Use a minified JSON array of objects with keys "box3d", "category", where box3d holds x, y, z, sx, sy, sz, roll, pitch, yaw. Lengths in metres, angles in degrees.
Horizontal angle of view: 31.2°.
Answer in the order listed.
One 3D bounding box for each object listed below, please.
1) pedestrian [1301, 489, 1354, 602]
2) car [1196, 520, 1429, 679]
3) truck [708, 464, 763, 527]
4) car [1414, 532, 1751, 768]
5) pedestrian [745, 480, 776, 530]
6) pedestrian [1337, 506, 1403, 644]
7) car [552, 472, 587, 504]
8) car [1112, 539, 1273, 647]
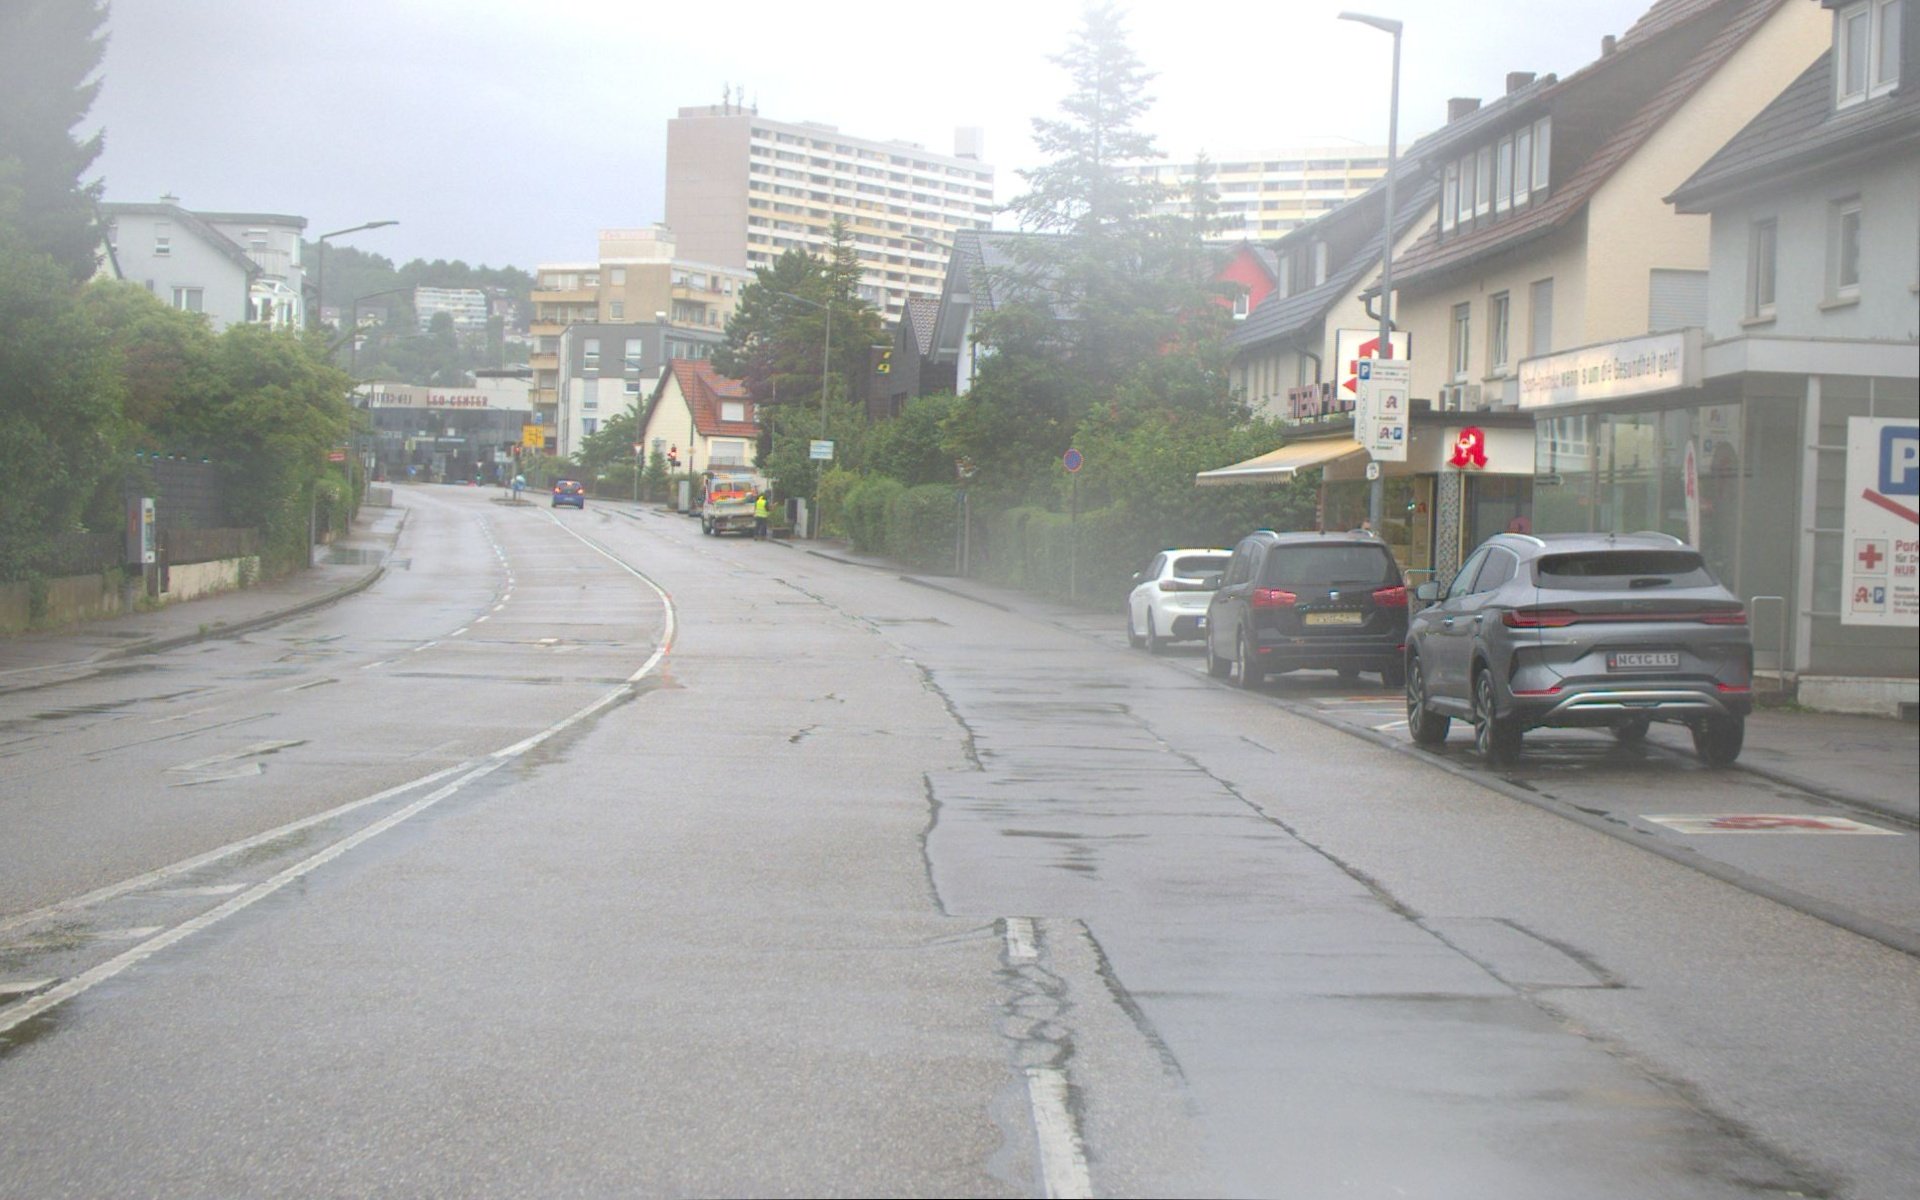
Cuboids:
[{"box3d":[5.551,-0.823,51.945,0.550,1.672,0.517,1,2,-40],"category":"pedestrian"},{"box3d":[3.936,-0.031,39.181,2.035,1.689,4.963,0,1,-1],"category":"car"},{"box3d":[-8.480,-3.945,129.528,1.993,2.295,4.001,1,2,-4],"category":"truck"},{"box3d":[4.660,0.327,26.396,1.875,1.637,4.792,0,1,2],"category":"car"},{"box3d":[-7.252,-3.462,124.904,0.823,1.791,0.800,1,2,-26],"category":"pedestrian"},{"box3d":[5.703,-0.345,47.806,0.623,1.885,0.646,3,1,33],"category":"pedestrian"},{"box3d":[-20.895,-5.990,183.950,1.794,1.664,4.001,1,1,-6],"category":"car"},{"box3d":[3.281,-0.129,49.169,1.815,1.443,4.204,0,1,-3],"category":"car"}]
